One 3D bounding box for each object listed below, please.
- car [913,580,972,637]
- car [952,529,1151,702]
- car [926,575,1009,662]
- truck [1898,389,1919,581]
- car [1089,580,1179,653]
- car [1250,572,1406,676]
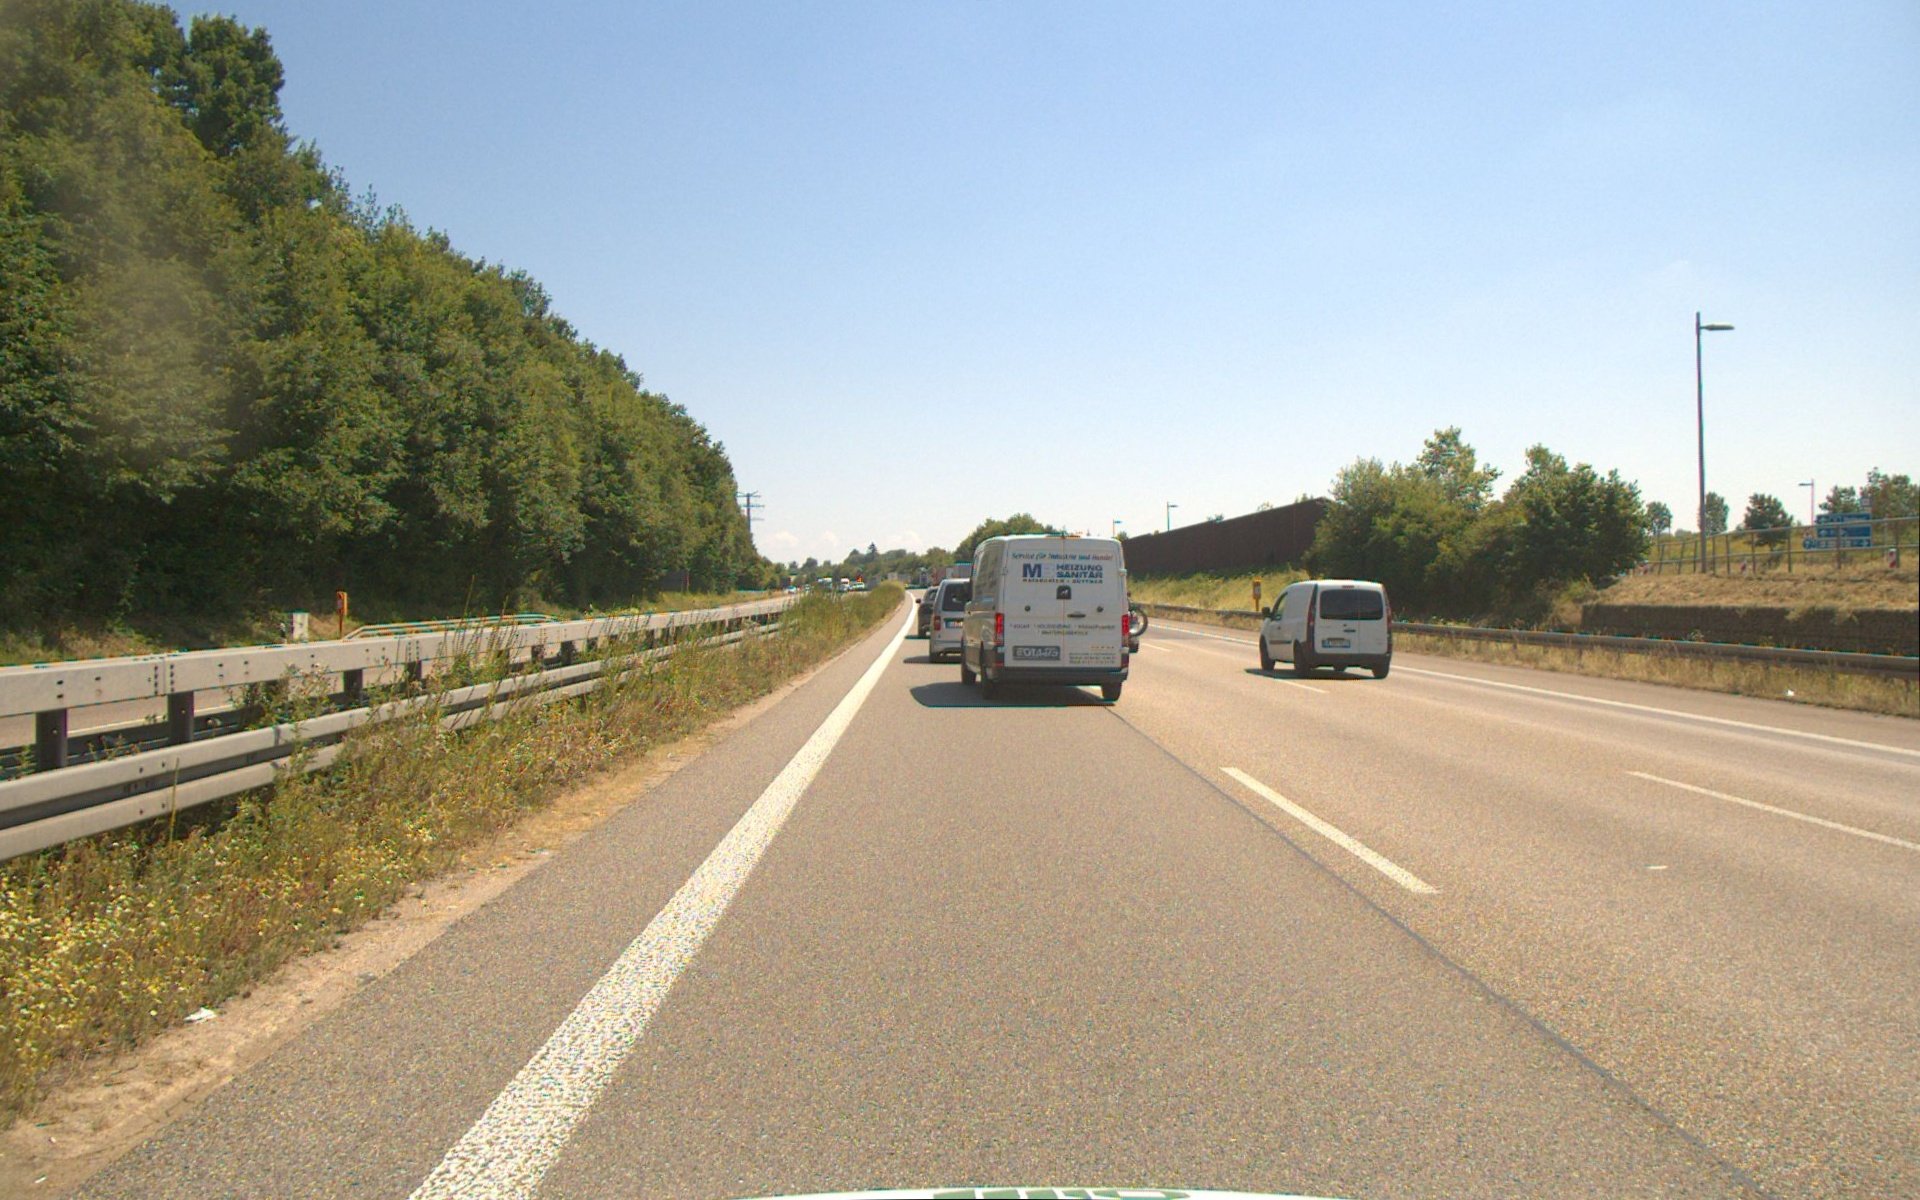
[{"bbox_3d":[-0.525,0.278,53.001,1.709,1.731,4.089,-1,0,1],"label":"car"},{"bbox_3d":[1.221,0.223,24.805,2.140,2.293,5.356,1,0,-6],"label":"car"},{"bbox_3d":[0.188,0.397,36.490,1.709,1.795,4.089,-1,0,1],"label":"car"},{"bbox_3d":[20.876,-2.338,32.519,2.549,3.894,3.999,1,0,-1],"label":"truck"},{"bbox_3d":[4.456,0.418,42.884,1.935,1.763,4.089,-1,0,1],"label":"car"},{"bbox_3d":[7.130,0.449,32.454,1.912,1.870,4.175,-1,0,-3],"label":"car"}]
